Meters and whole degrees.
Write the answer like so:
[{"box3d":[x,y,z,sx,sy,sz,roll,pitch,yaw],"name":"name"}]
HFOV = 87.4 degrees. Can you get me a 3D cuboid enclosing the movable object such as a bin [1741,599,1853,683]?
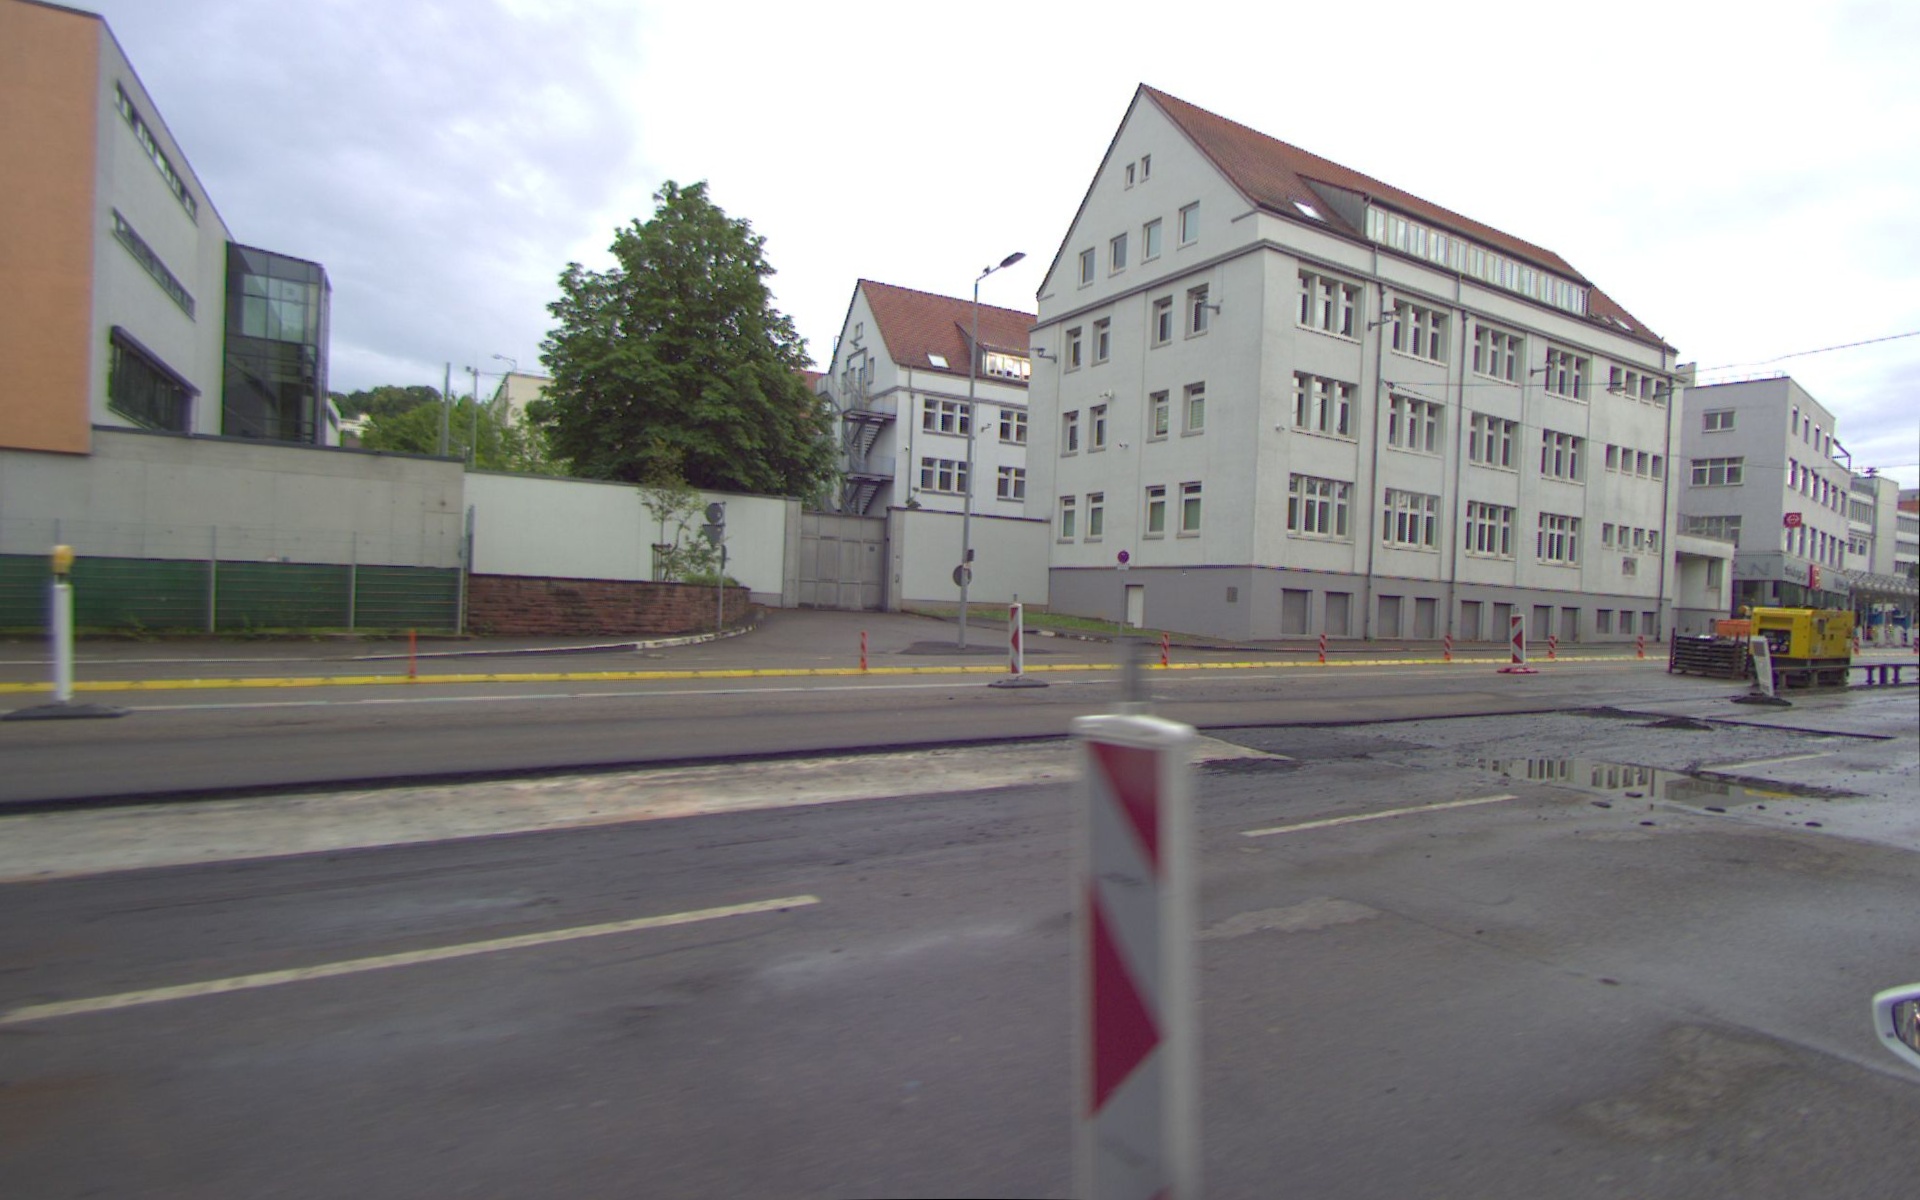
[{"box3d":[17.718,0.844,21.251,2.411,1.666,1.078,1,1,-31],"name":"movable object such as a bin"}]
